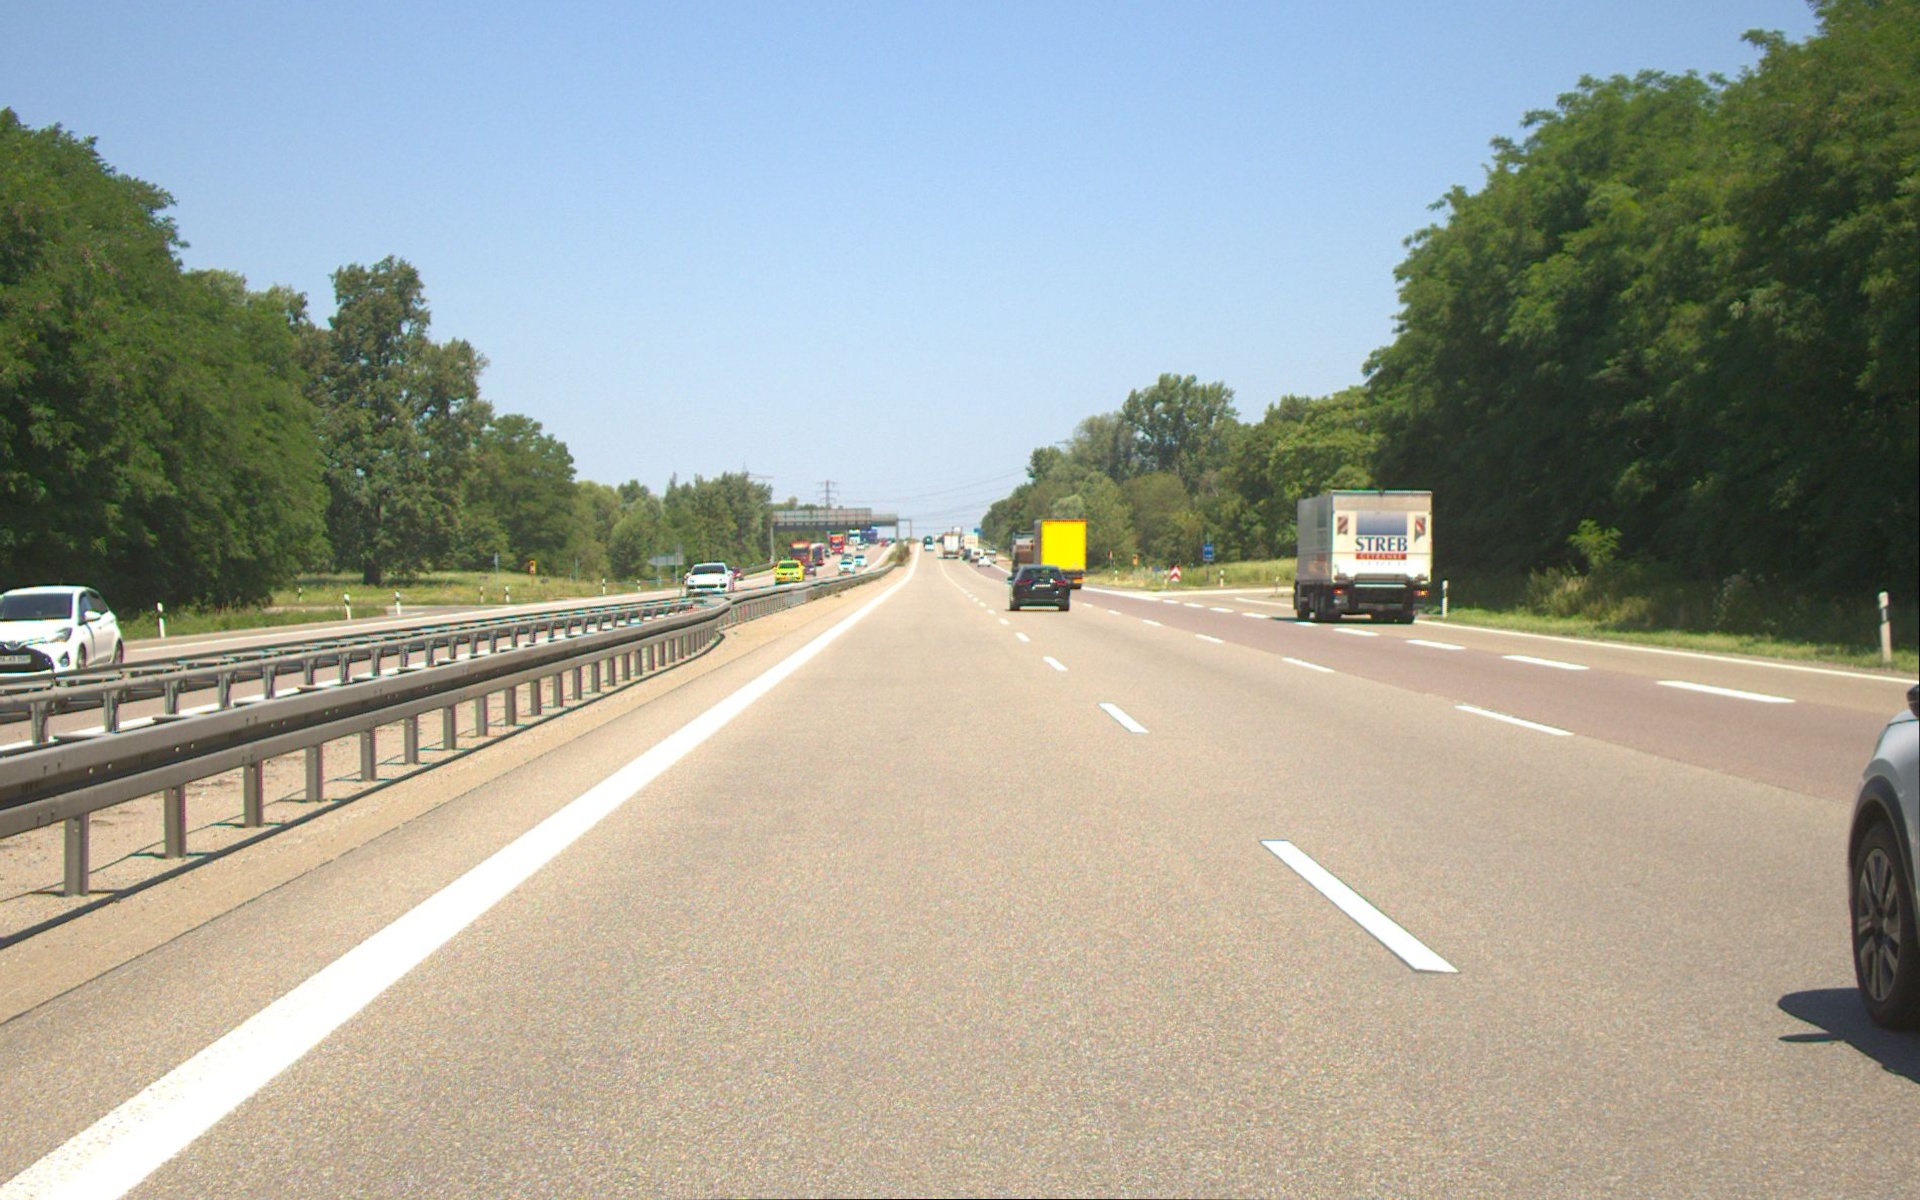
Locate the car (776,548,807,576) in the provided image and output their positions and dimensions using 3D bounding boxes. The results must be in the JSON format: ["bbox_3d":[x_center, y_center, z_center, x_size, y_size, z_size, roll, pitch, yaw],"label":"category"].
[{"bbox_3d":[-11.921,-2.675,243.470,1.993,1.957,5.211,1,1,-1],"label":"car"}]

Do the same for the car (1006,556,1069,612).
[{"bbox_3d":[2.424,-0.520,108.086,1.827,1.700,4.000,1,1,-1],"label":"car"}]

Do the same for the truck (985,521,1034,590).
[{"bbox_3d":[3.572,-3.216,251.409,3.367,4.864,15.086,1,1,0],"label":"truck"}]

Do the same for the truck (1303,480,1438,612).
[{"bbox_3d":[10.921,-1.418,92.377,3.028,3.308,10.769,1,1,4],"label":"truck"}]

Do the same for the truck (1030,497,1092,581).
[{"bbox_3d":[6.020,-3.620,207.850,3.377,4.864,15.086,1,1,0],"label":"truck"}]

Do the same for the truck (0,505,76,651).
[{"bbox_3d":[-21.010,-0.420,70.056,2.753,2.980,12.856,-1,1,-1],"label":"truck"}]

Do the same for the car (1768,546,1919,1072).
[{"bbox_3d":[3.844,0.642,9.933,1.827,1.602,4.809,0,1,-1],"label":"car"}]

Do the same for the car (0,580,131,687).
[{"bbox_3d":[-14.032,0.486,52.632,1.688,1.539,4.204,1,1,-1],"label":"car"}]
